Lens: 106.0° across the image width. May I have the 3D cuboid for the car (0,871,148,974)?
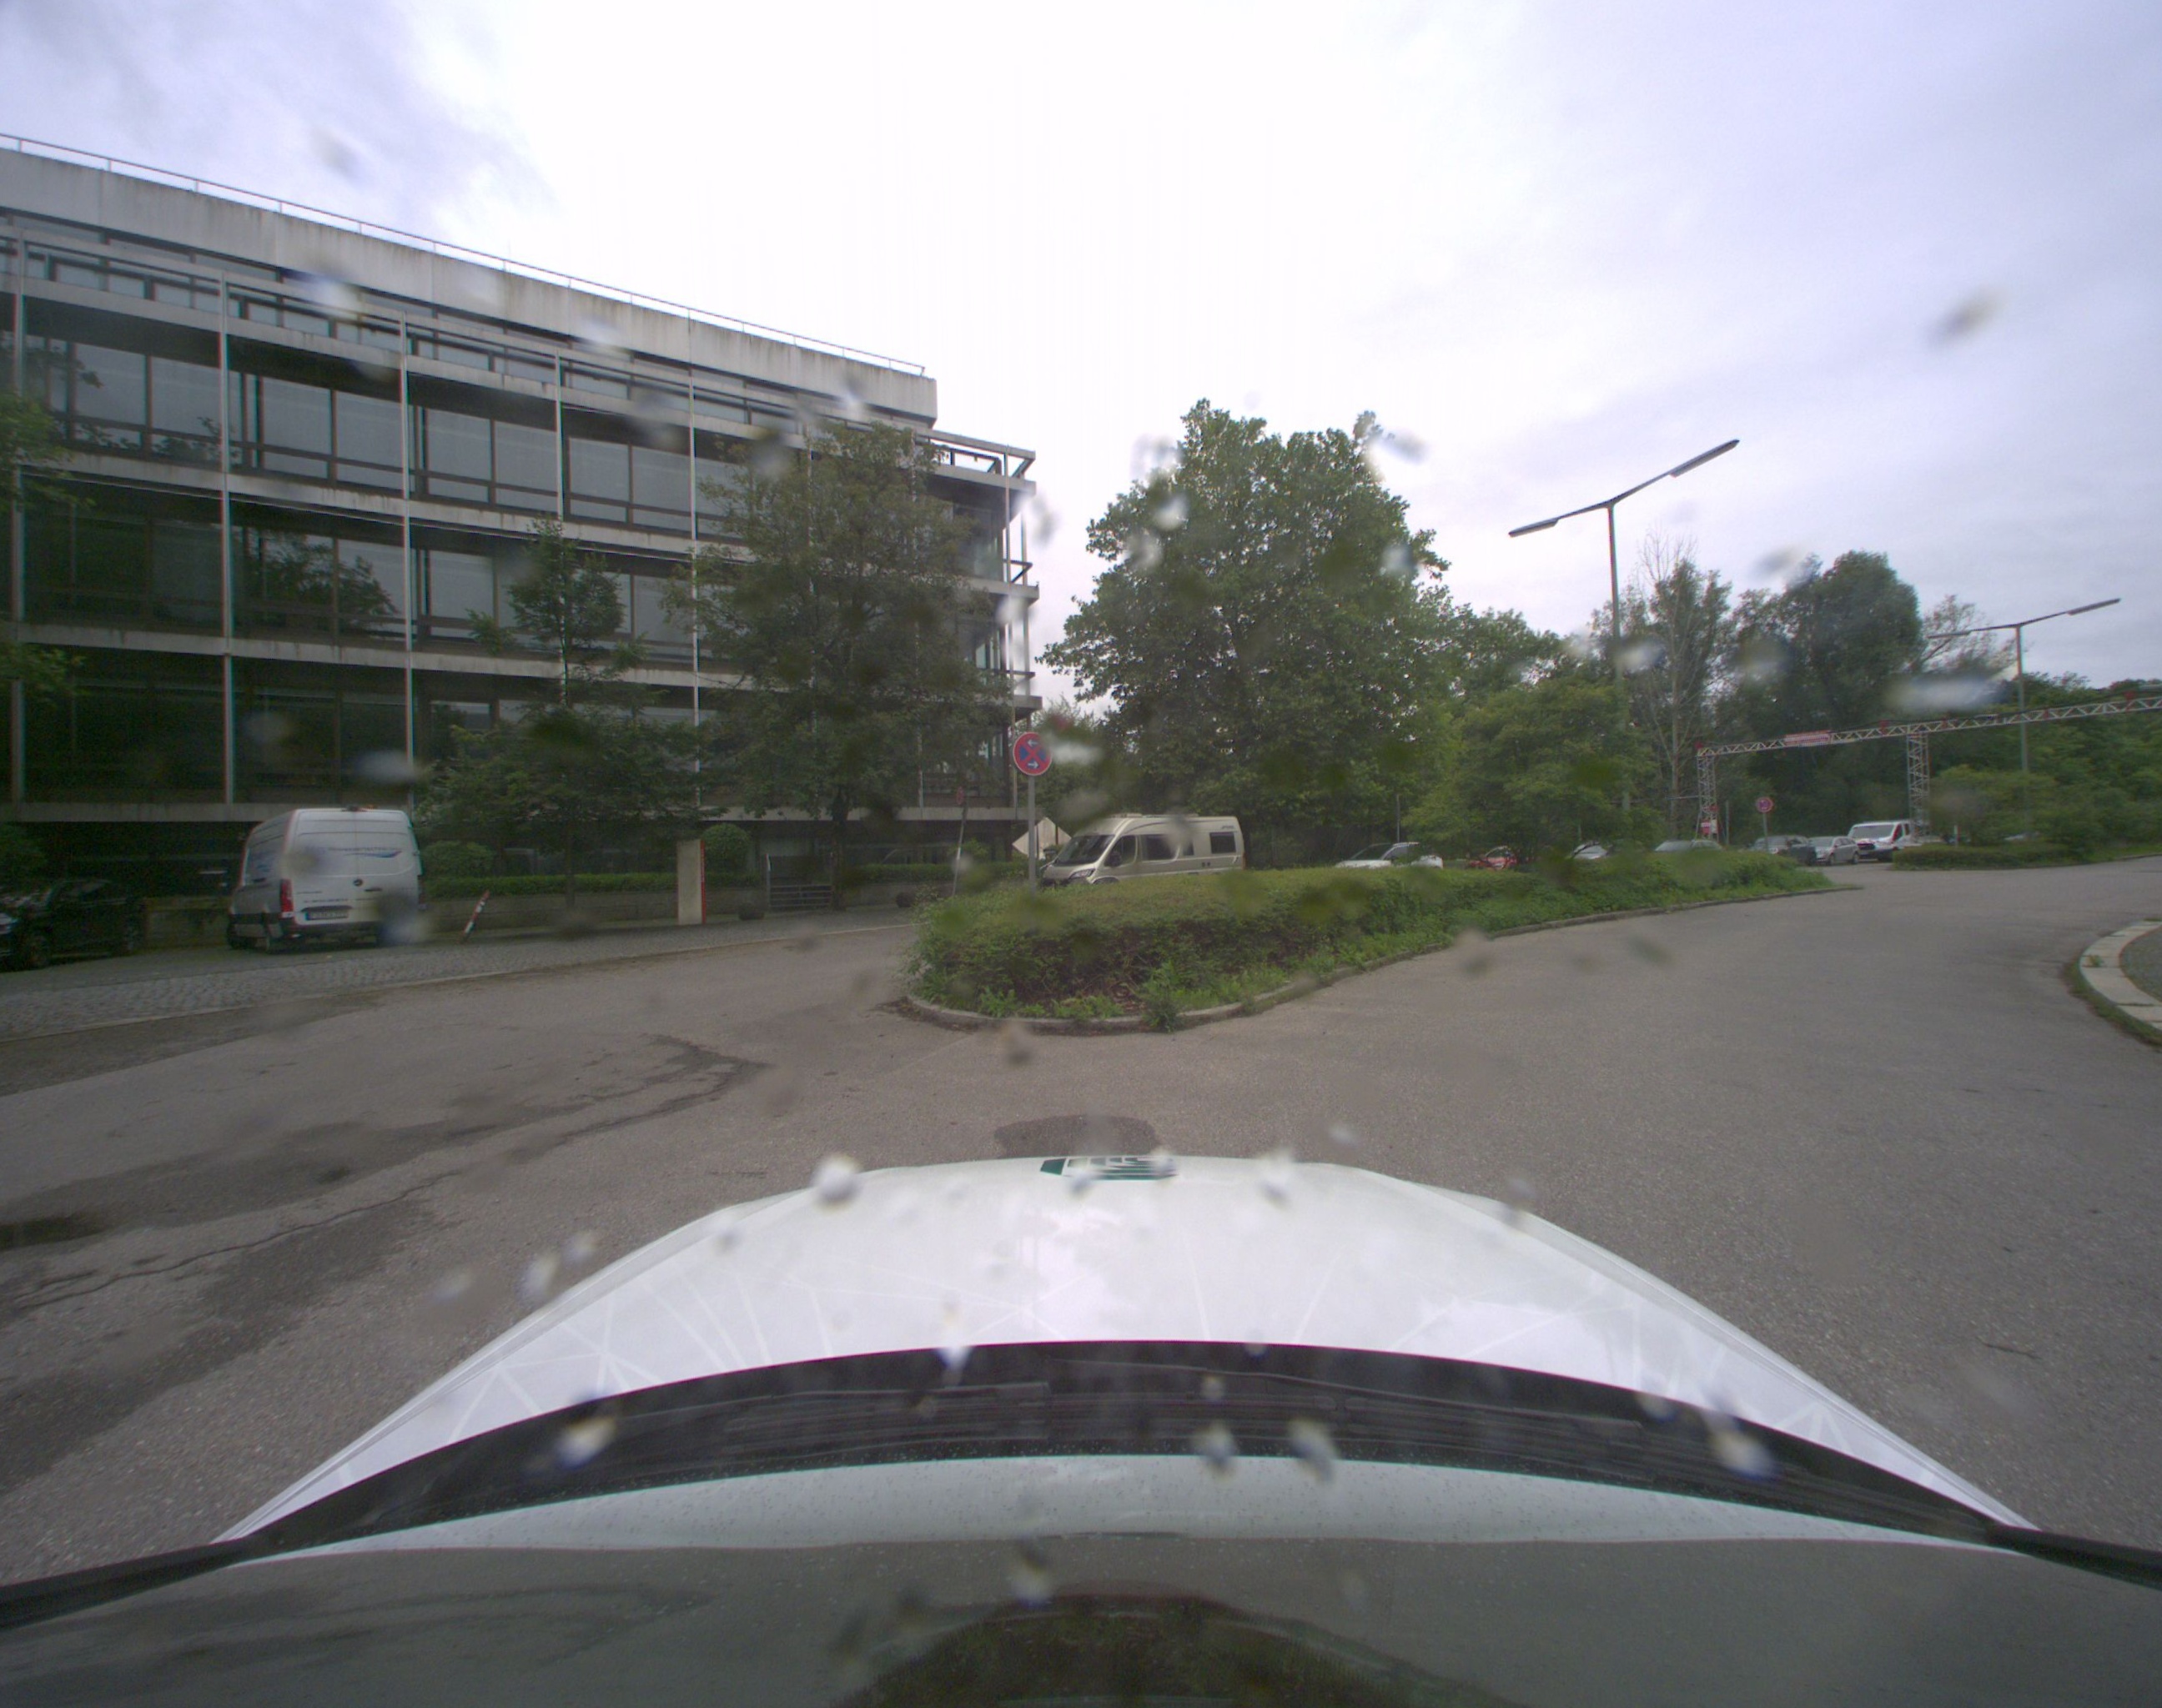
[{"bbox_3d":[-19.803,1.213,15.154,1.954,1.721,4.197,-1,-1,-30],"label":"car"}]

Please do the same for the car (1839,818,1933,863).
[{"bbox_3d":[42.916,-0.749,43.411,4.882,2.227,2.186,-2,-1,-28],"label":"car"}]

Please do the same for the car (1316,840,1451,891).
[{"bbox_3d":[10.152,0.375,27.325,4.007,1.508,1.983,-2,-1,-25],"label":"car"}]

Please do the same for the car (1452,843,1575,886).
[{"bbox_3d":[15.947,0.358,30.009,4.007,1.409,1.983,-2,-1,-25],"label":"car"}]

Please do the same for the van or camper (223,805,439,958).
[{"bbox_3d":[-15.375,0.635,16.522,6.454,2.581,2.176,-4,-3,38],"label":"van or camper"}]

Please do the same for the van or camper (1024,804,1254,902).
[{"bbox_3d":[1.734,-0.034,21.932,6.452,2.281,2.228,-1,-1,-41],"label":"van or camper"}]

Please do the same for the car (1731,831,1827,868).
[{"bbox_3d":[33.017,-0.210,38.520,4.007,1.574,1.983,-2,-1,-25],"label":"car"}]

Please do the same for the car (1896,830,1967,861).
[{"bbox_3d":[47.397,-0.465,45.357,4.011,1.611,1.717,-2,-1,-29],"label":"car"}]

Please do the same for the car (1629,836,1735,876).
[{"bbox_3d":[25.832,0.090,35.000,4.007,1.574,1.983,-2,-1,-25],"label":"car"}]

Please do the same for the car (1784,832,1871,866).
[{"bbox_3d":[37.477,-0.243,40.901,4.010,1.574,1.982,-2,-1,-28],"label":"car"}]
